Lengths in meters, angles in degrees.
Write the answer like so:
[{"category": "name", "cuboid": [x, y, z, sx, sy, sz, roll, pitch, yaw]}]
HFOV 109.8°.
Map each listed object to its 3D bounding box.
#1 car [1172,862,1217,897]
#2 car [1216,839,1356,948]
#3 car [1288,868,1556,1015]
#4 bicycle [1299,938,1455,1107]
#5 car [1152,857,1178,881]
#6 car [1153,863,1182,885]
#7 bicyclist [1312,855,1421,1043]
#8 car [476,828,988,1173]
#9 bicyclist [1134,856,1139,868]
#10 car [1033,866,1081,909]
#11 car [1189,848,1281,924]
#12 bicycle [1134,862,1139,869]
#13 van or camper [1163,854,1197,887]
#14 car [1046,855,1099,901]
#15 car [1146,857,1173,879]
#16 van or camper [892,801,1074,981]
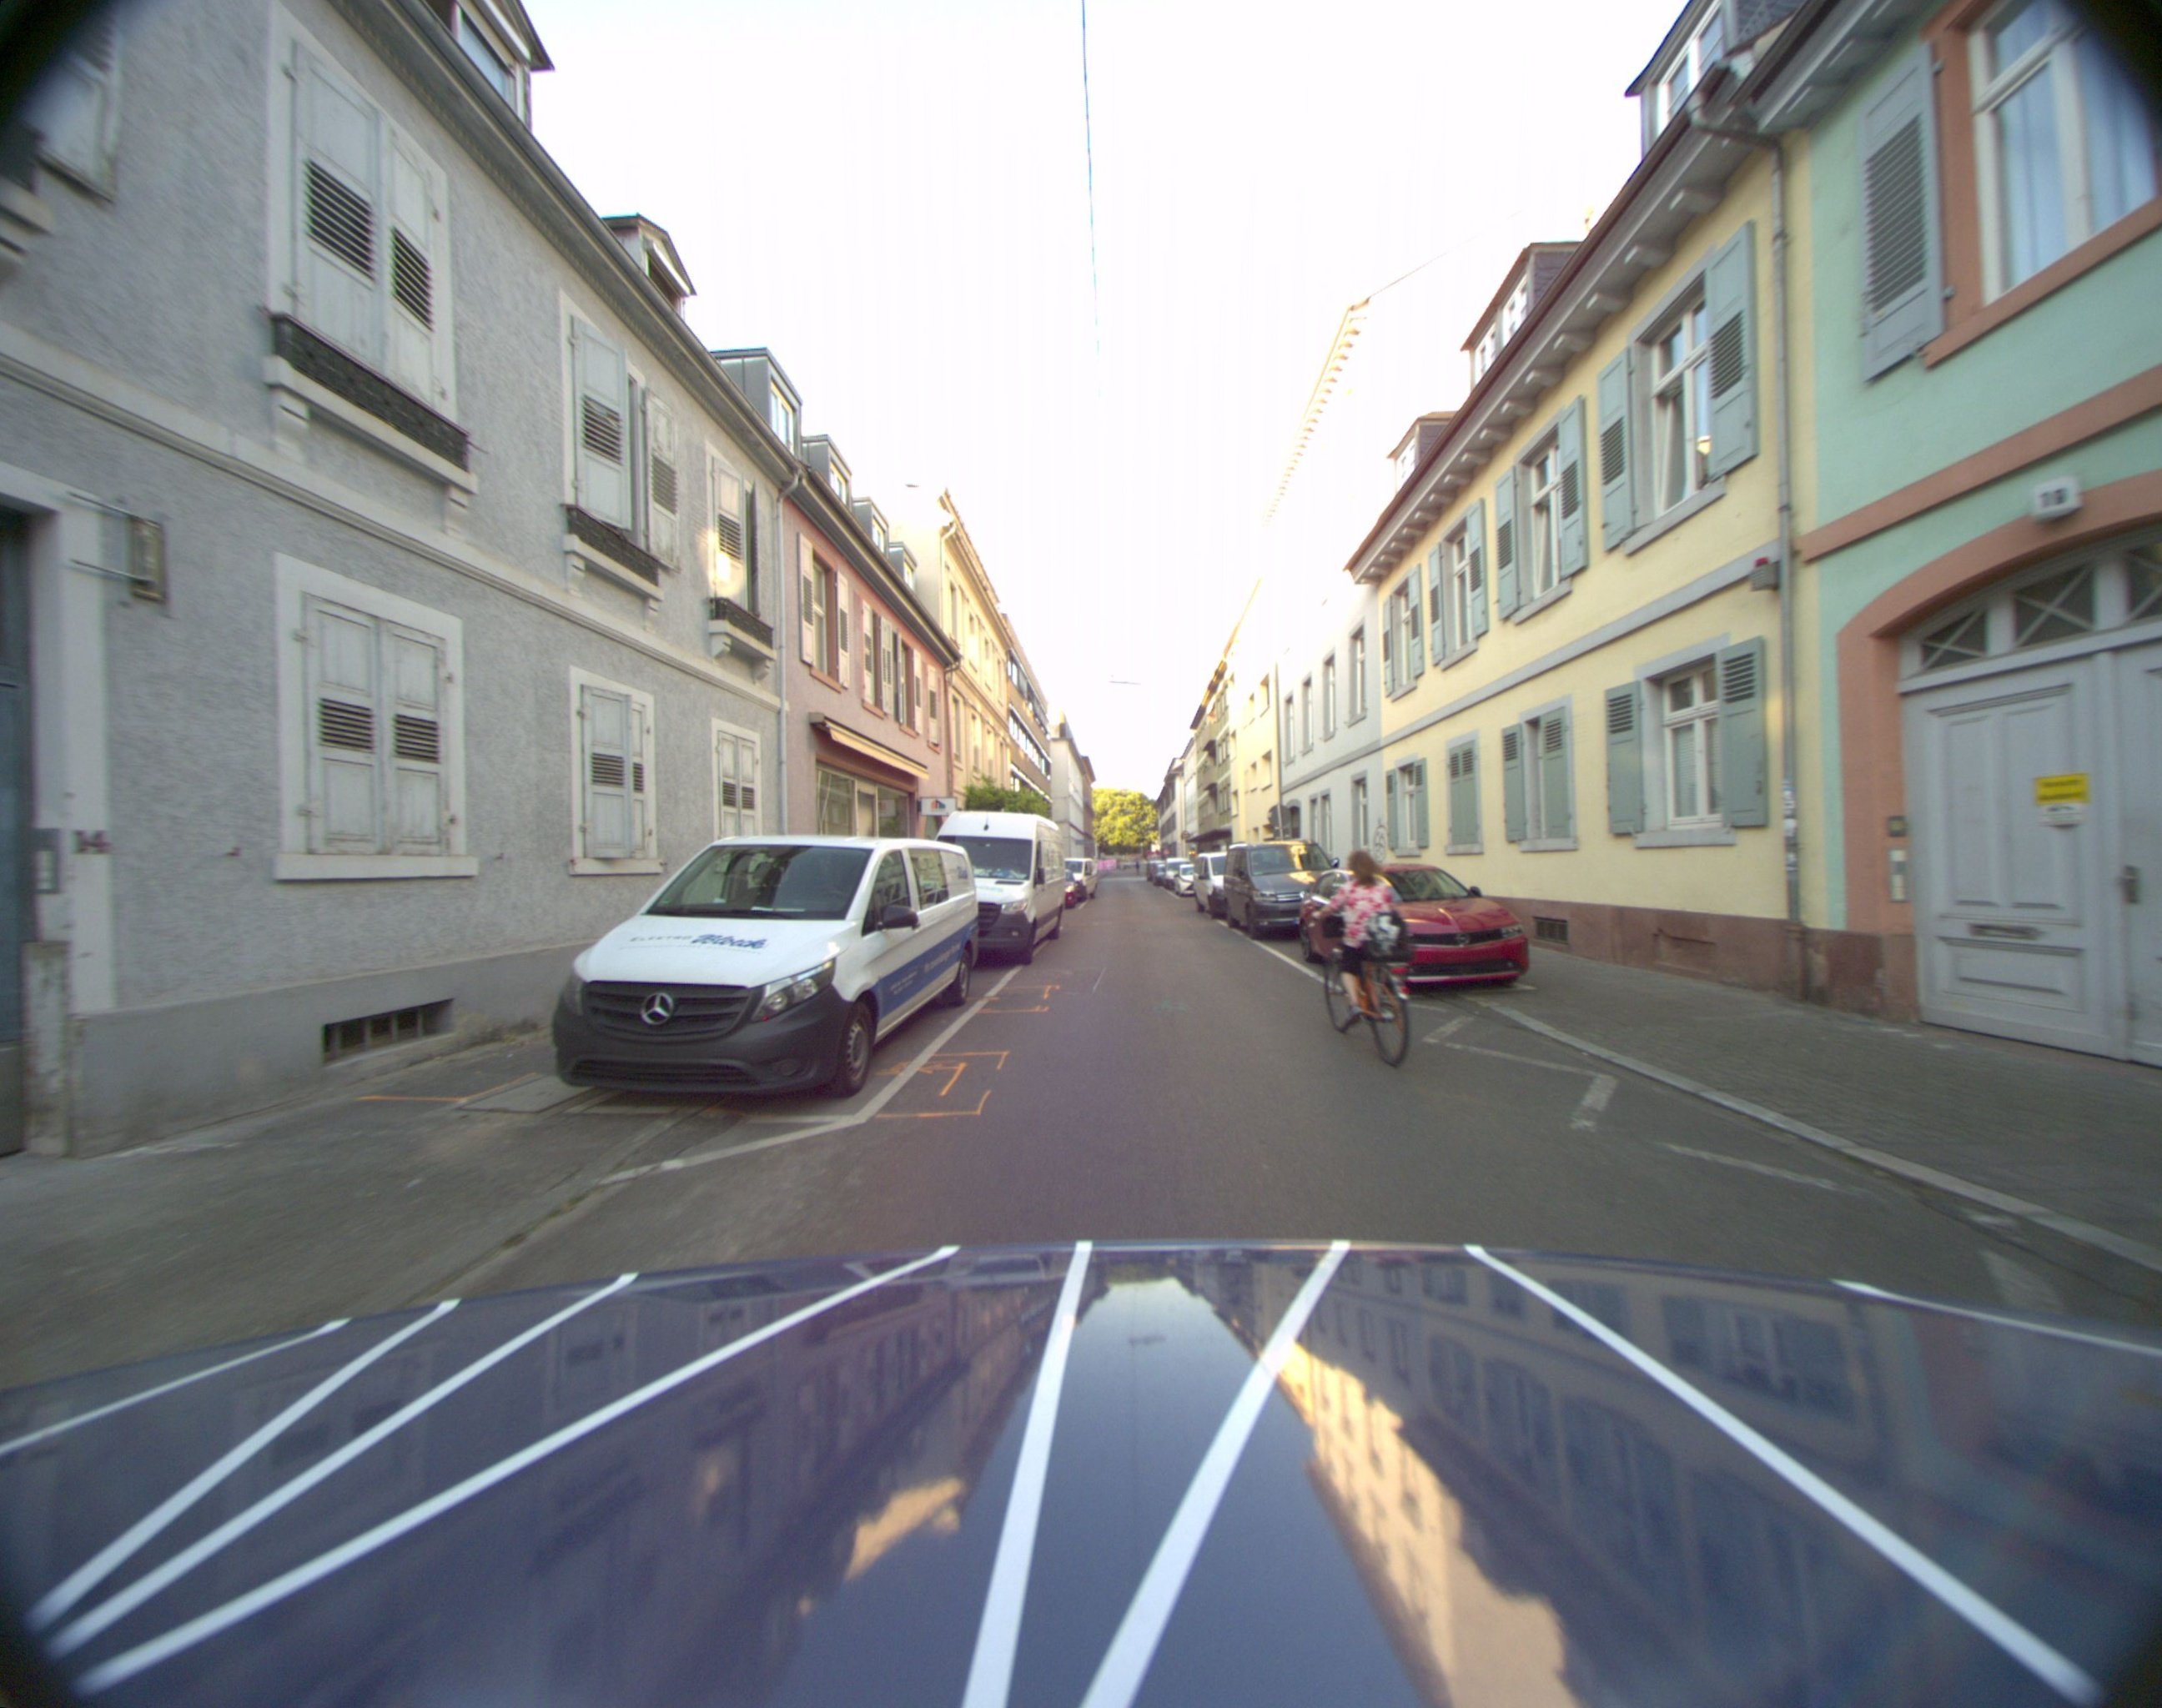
[{"category": "car", "cuboid": [5.304, 1.161, 35.944, 1.666, 1.440, 3.521, -5, 0, 3]}, {"category": "car", "cuboid": [4.244, 0.761, 16.562, 1.867, 2.001, 4.815, -2, -1, 2]}, {"category": "car", "cuboid": [4.053, 0.938, 9.883, 1.769, 1.393, 4.264, -2, 0, 4]}, {"category": "bicycle", "cuboid": [2.253, 1.238, 6.041, 0.615, 0.927, 1.887, -2, 0, 5]}, {"category": "car", "cuboid": [6.942, 1.225, 63.308, 1.776, 1.800, 4.511, -2, 0, 2]}, {"category": "car", "cuboid": [6.013, 1.350, 53.034, 1.628, 1.407, 3.981, -3, 0, 2]}, {"category": "bicyclist", "cuboid": [2.181, 0.697, 5.872, 0.607, 1.361, 0.621, -2, 0, 6]}, {"category": "car", "cuboid": [-2.323, 0.828, 6.957, 1.945, 1.883, 5.318, 2, 0, 3]}, {"category": "bicyclist", "cuboid": [7.750, 1.137, 105.701, 0.625, 1.630, 1.082, -2, 0, 4]}, {"category": "car", "cuboid": [-0.875, 1.240, 29.606, 1.659, 1.496, 3.754, -1, -1, 1]}, {"category": "car", "cuboid": [4.513, 0.878, 23.007, 1.867, 2.001, 5.107, -2, -1, 2]}, {"category": "bicycle", "cuboid": [7.784, 1.654, 105.730, 0.635, 0.916, 1.780, -2, 0, 4]}, {"category": "van or camper", "cuboid": [5.847, 0.975, 45.274, 1.776, 1.837, 4.180, -1, 0, 4]}, {"category": "car", "cuboid": [-0.315, 1.037, 34.560, 1.940, 1.886, 5.278, -1, -1, 4]}, {"category": "car", "cuboid": [7.047, 1.258, 68.445, 1.881, 1.800, 4.451, -2, 0, 0]}, {"category": "van or camper", "cuboid": [-1.488, 0.591, 14.772, 2.054, 2.622, 7.065, -2, -1, 4]}]
